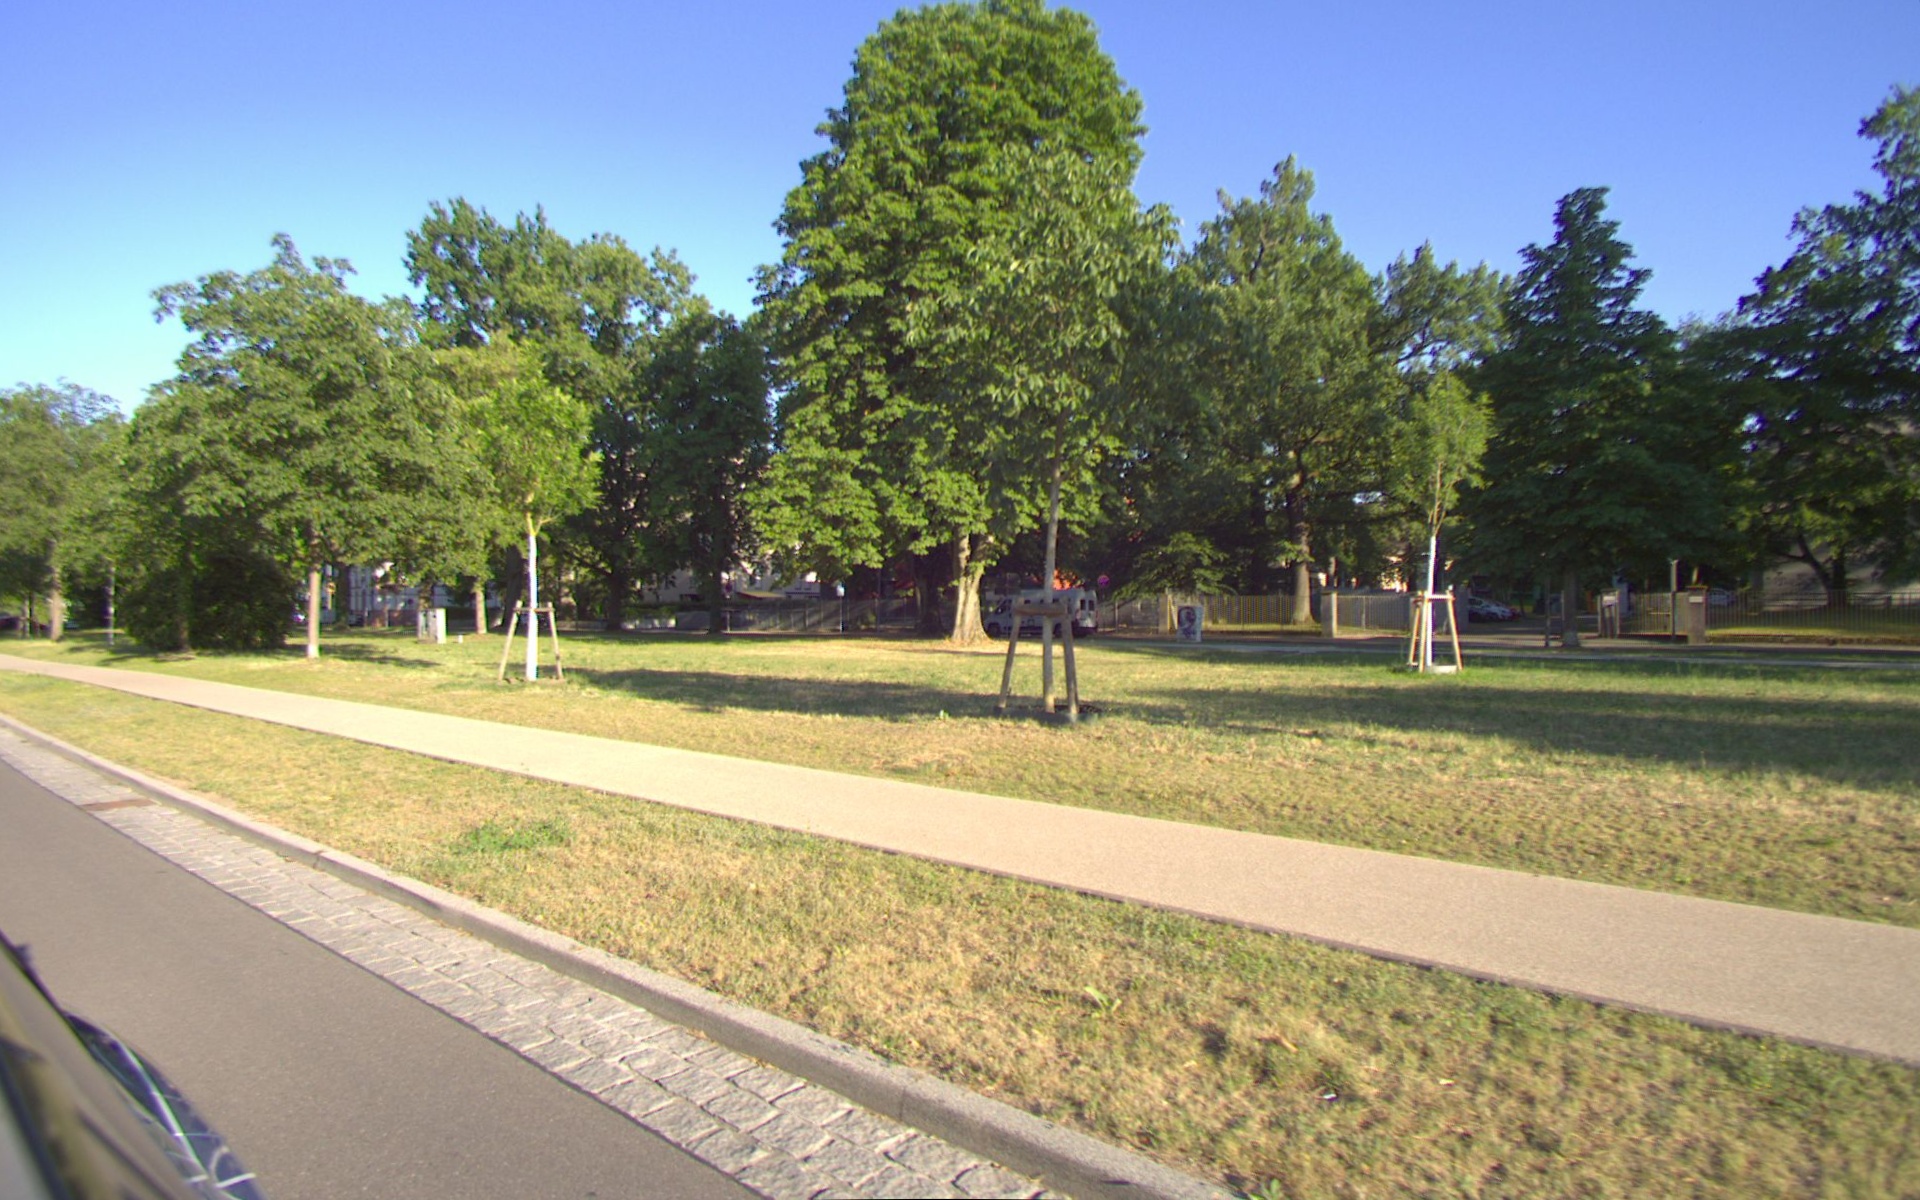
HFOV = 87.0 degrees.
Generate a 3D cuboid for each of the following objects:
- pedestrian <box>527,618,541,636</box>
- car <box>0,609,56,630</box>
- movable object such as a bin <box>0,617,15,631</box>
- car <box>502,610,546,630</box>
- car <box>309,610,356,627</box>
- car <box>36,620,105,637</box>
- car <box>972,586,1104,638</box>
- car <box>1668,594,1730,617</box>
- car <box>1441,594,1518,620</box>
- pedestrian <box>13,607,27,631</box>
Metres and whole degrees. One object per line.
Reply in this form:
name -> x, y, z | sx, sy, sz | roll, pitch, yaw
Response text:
pedestrian -> -23.577, 1.513, 56.013 | 0.541, 0.994, 0.611 | 1, -1, -40
car -> -75.688, 1.522, 81.428 | 1.873, 1.586, 3.980 | 1, 0, 15
movable object such as a bin -> -69.481, 1.707, 73.370 | 0.949, 0.997, 1.315 | -1, -1, 41
car -> -36.665, 1.645, 85.041 | 3.735, 1.630, 1.973 | -1, -1, 40
car -> -62.603, 1.809, 101.020 | 3.700, 1.630, 1.992 | -1, 0, 13
car -> -79.196, 2.544, 90.170 | 1.825, 1.411, 4.252 | 0, -1, 18
car -> 3.891, 0.598, 51.230 | 6.311, 2.482, 2.694 | 0, -1, 39
car -> 67.070, 0.504, 91.948 | 4.203, 2.074, 1.626 | 0, -1, 11
car -> 34.000, 0.461, 66.293 | 4.245, 1.661, 1.610 | -1, -1, 40
pedestrian -> -68.845, 1.370, 74.122 | 0.672, 1.708, 0.655 | -1, -1, 42
